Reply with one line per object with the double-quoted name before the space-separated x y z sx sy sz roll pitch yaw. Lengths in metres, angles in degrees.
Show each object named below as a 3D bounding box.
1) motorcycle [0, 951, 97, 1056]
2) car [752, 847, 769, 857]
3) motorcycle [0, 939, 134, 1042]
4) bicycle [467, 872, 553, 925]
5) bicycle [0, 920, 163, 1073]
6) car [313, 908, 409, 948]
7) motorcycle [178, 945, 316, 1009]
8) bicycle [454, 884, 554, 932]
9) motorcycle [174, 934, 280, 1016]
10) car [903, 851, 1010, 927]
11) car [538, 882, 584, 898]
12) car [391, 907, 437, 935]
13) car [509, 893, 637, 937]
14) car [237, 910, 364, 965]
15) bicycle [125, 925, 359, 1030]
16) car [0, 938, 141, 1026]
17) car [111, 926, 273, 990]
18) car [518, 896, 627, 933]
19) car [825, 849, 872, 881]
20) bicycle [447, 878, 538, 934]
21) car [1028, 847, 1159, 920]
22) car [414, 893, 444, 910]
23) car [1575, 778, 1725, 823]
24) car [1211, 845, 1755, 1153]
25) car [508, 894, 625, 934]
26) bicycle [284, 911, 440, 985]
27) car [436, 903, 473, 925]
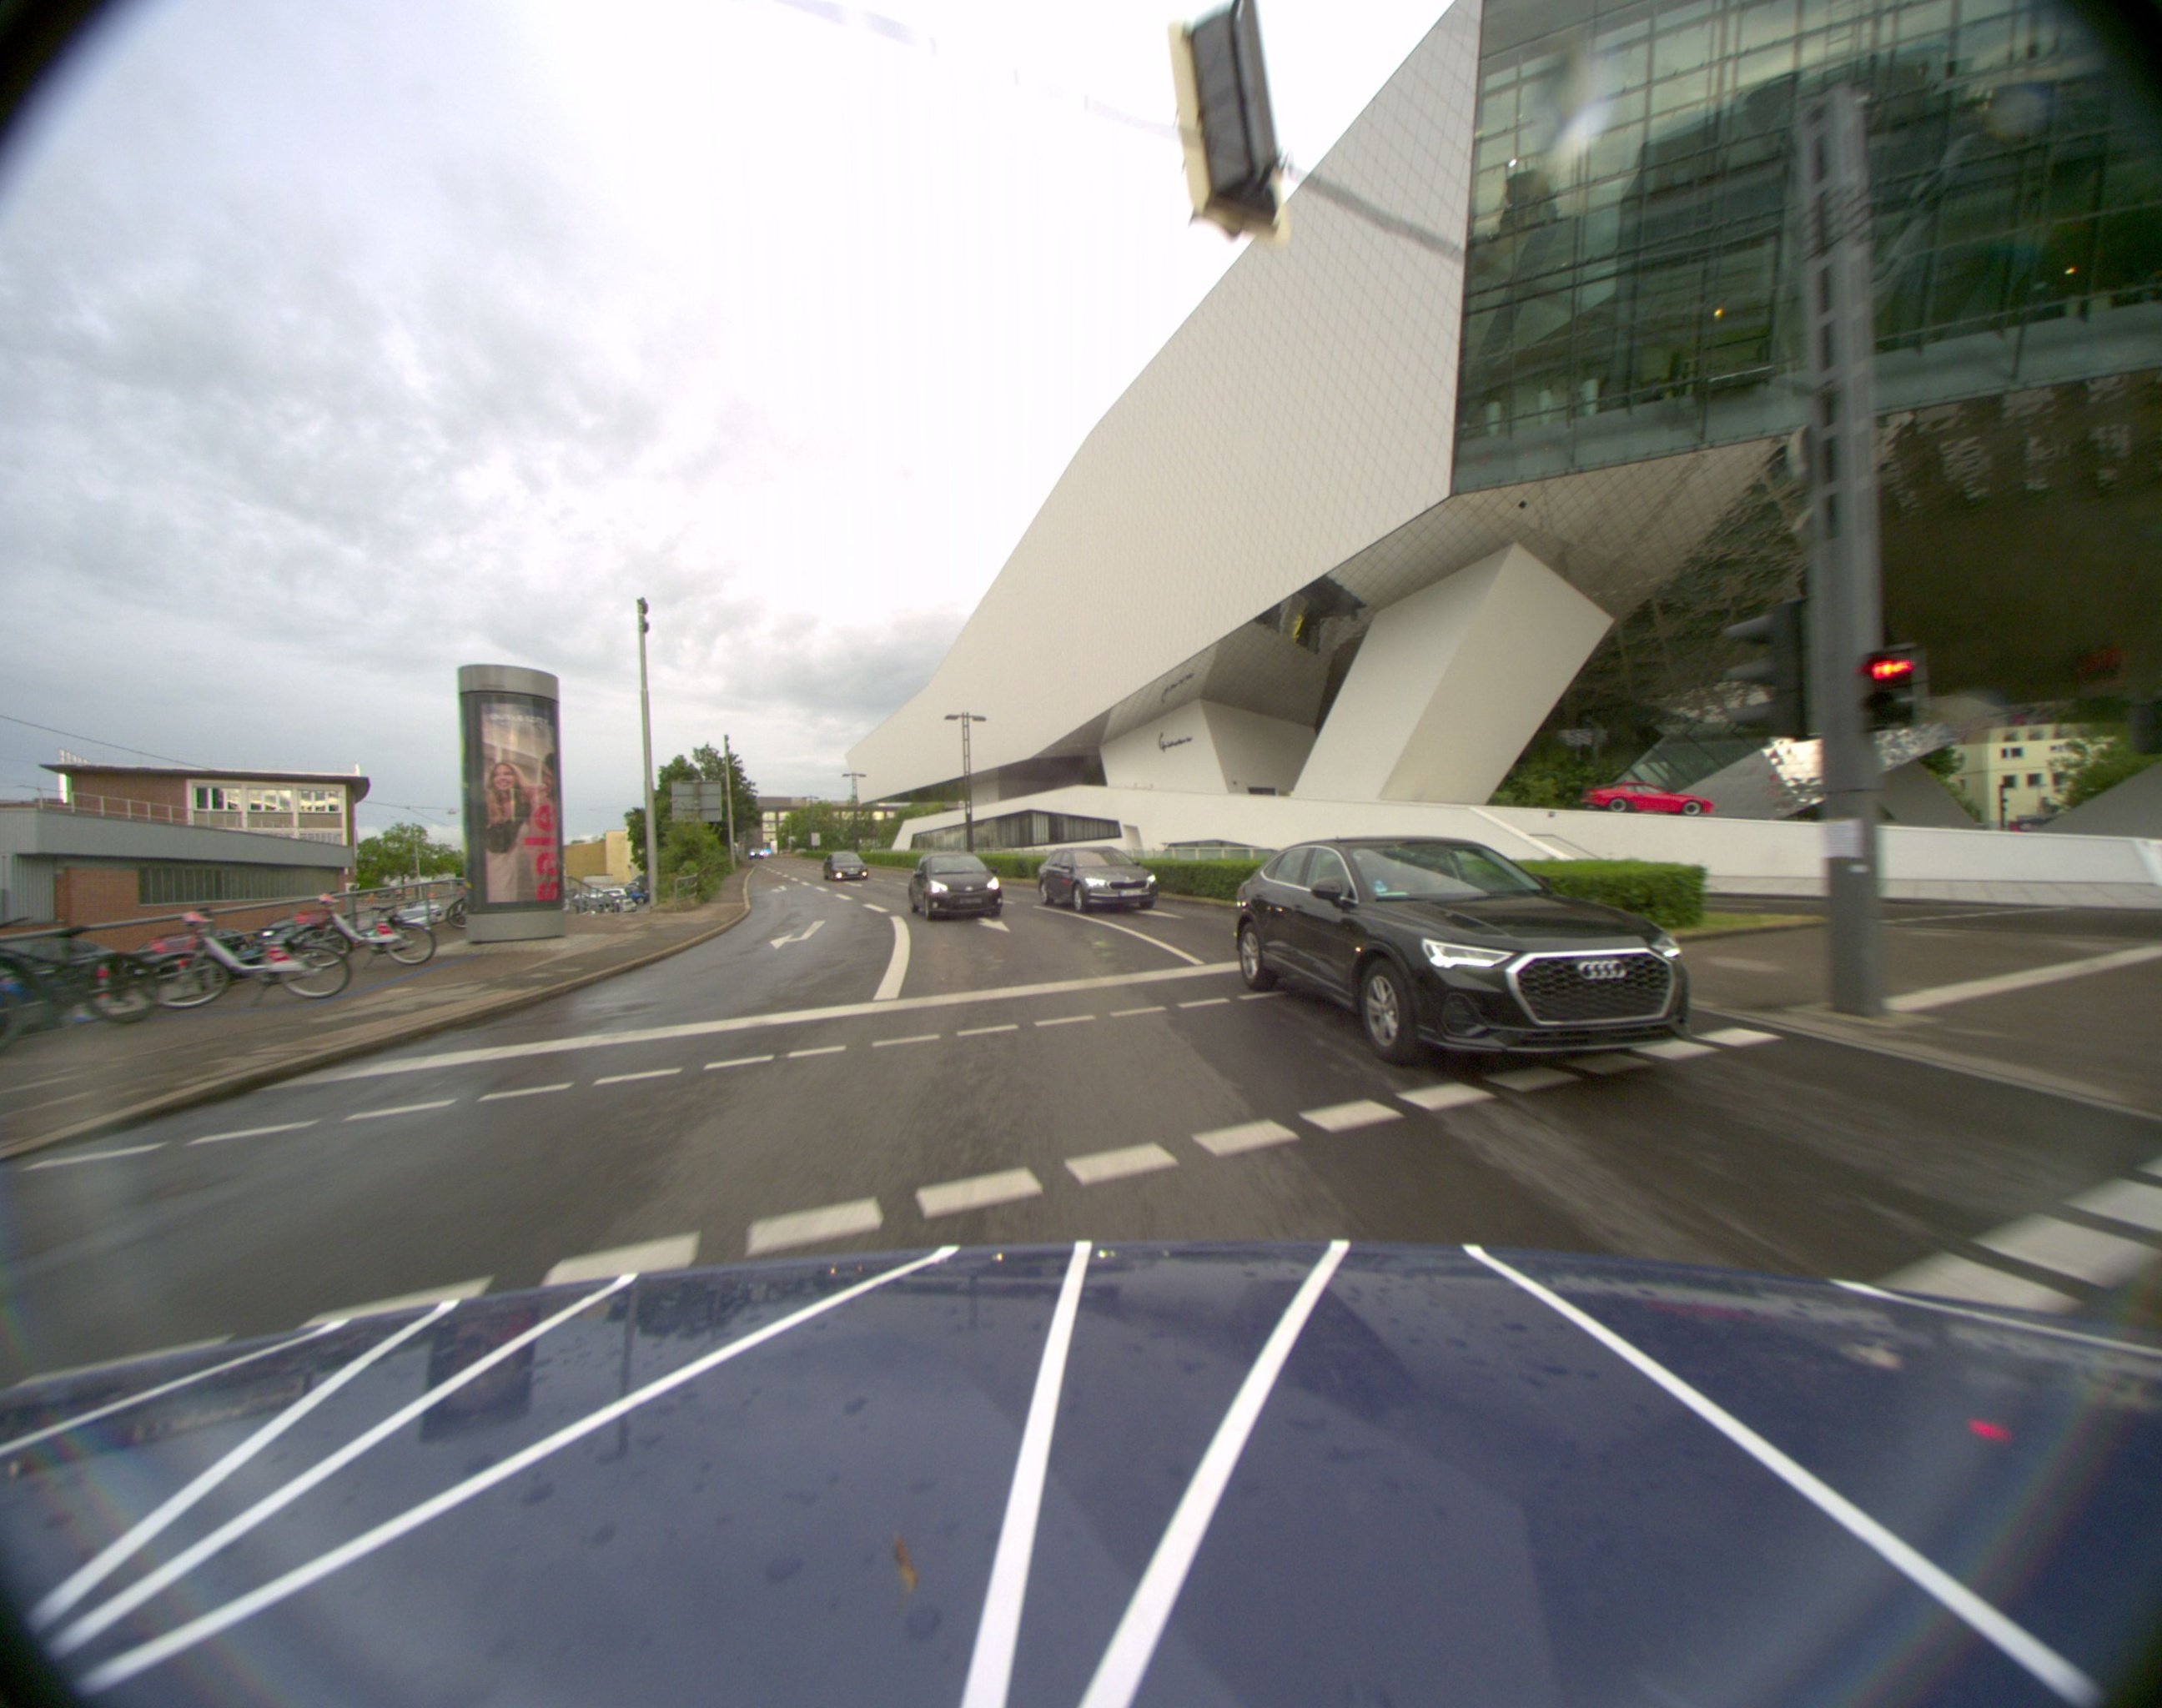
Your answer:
"motorcycle" -10.488 1.480 6.994 0.547 0.890 1.743 -2 2 -1
"car" -48.297 -0.297 114.410 1.821 1.430 4.293 -2 -1 -30
"motorcycle" -11.261 1.468 8.328 0.435 0.885 1.262 -3 2 -18
"bicycle" -13.347 1.021 17.790 1.548 1.149 0.450 -1 3 -41
"bicycle" -9.740 1.317 7.052 0.401 1.168 2.012 -2 2 -15
"car" -33.592 3.424 35.619 1.722 1.396 4.267 -3 0 -22
"motorcycle" -15.628 2.291 14.290 1.619 0.917 0.481 -4 3 -31
"bicycle" -12.880 1.175 17.018 0.485 0.916 1.707 0 2 30
"motorcycle" -12.106 1.676 10.820 0.403 0.885 1.537 -3 2 -26
"car" -3.091 0.731 18.186 1.696 1.499 4.003 -3 2 -21
"car" -56.919 3.891 83.222 4.007 1.417 1.716 -3 1 -38
"car" -41.139 4.089 46.936 1.736 1.381 3.990 -3 1 -36
"car" -21.029 2.509 31.594 4.000 1.417 1.719 -3 1 -9
"car" -31.060 3.258 30.441 1.786 1.657 4.497 -3 0 -22
"bicycle" -9.350 1.359 8.532 1.747 0.956 0.421 -2 3 -16
"car" -25.321 3.051 18.044 1.892 1.542 4.499 -3 0 -25
"car" -28.161 3.241 24.262 1.722 1.417 3.992 -3 0 -24
"car" -24.936 2.944 37.381 4.000 1.417 1.719 -3 1 -9
"car" -12.256 0.551 39.895 1.752 1.466 4.060 -4 2 -24
"bicycle" -12.632 1.087 16.340 0.442 1.068 1.465 2 2 35
"car" 0.158 0.612 18.602 1.819 1.431 4.294 -4 2 -18
"car" -58.698 4.257 68.423 1.724 1.417 3.989 -3 1 -45
"car" 22.366 -2.113 30.080 4.235 1.377 2.003 6 3 19
"car" 2.631 0.752 6.338 1.758 1.510 4.390 -3 2 -8
"car" -23.375 2.713 34.639 4.000 1.417 1.719 -3 1 -9
"bicycle" -10.358 1.345 10.992 1.617 0.916 0.421 -2 1 -12
"car" -47.297 4.505 57.349 1.724 1.417 4.217 -3 1 -45
